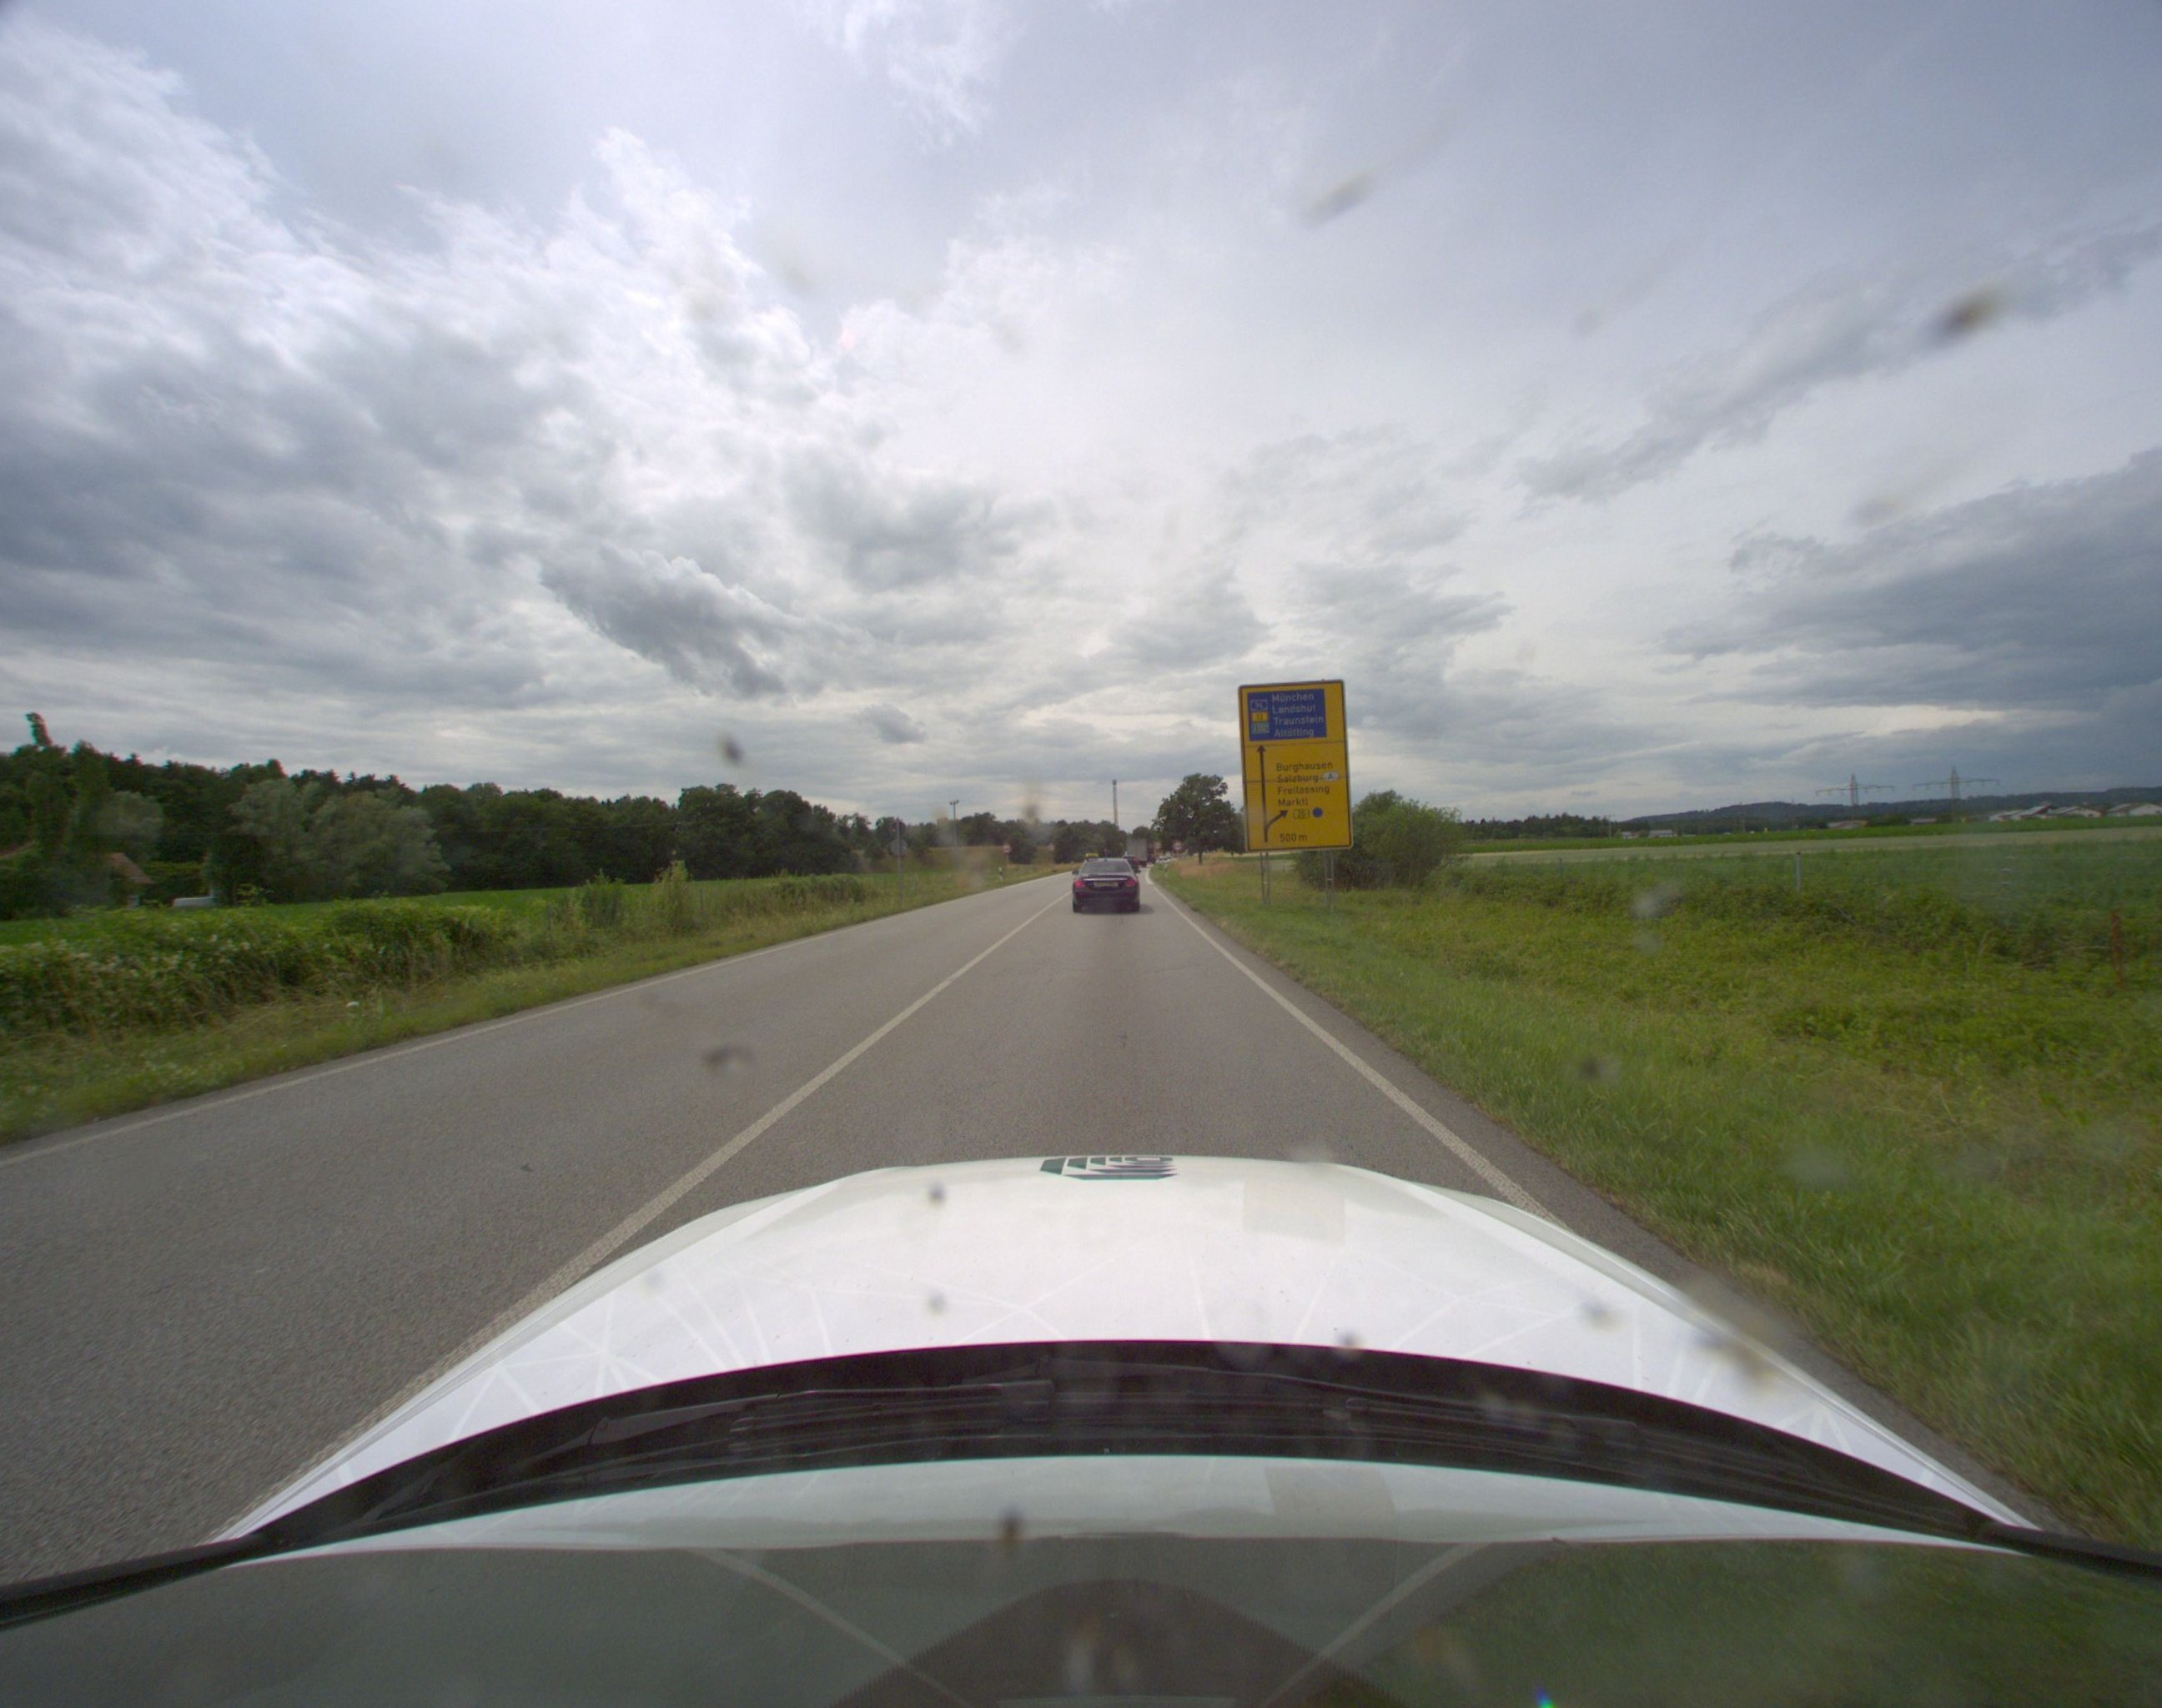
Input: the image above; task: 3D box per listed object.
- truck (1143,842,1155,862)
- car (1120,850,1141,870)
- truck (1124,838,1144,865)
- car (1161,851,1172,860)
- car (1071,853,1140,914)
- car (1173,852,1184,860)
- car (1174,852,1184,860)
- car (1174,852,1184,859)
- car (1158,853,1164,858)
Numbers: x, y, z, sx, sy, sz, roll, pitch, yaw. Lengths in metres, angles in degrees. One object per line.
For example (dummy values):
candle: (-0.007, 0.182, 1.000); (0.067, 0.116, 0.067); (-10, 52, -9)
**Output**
truck: (12.214, -0.336, 146.626); (1.986, 3.526, 4.593); (0, -1, 2)
car: (5.012, 0.604, 82.481); (1.986, 2.014, 4.001); (0, -1, 1)
truck: (6.987, -0.325, 107.041); (2.575, 3.524, 4.818); (0, -1, 4)
car: (15.278, 0.257, 145.764); (1.789, 1.662, 4.001); (0, -1, 2)
car: (0.697, 0.782, 23.077); (1.789, 1.560, 4.001); (0, -1, 2)
car: (19.734, 0.396, 165.079); (1.789, 1.662, 4.001); (0, -1, 2)
car: (21.687, 0.390, 180.139); (1.789, 1.662, 4.001); (0, -1, 2)
car: (23.311, 0.423, 193.835); (1.789, 1.662, 4.001); (0, -1, 2)
car: (21.114, 0.450, 214.797); (1.641, 1.395, 3.712); (0, -1, 6)
